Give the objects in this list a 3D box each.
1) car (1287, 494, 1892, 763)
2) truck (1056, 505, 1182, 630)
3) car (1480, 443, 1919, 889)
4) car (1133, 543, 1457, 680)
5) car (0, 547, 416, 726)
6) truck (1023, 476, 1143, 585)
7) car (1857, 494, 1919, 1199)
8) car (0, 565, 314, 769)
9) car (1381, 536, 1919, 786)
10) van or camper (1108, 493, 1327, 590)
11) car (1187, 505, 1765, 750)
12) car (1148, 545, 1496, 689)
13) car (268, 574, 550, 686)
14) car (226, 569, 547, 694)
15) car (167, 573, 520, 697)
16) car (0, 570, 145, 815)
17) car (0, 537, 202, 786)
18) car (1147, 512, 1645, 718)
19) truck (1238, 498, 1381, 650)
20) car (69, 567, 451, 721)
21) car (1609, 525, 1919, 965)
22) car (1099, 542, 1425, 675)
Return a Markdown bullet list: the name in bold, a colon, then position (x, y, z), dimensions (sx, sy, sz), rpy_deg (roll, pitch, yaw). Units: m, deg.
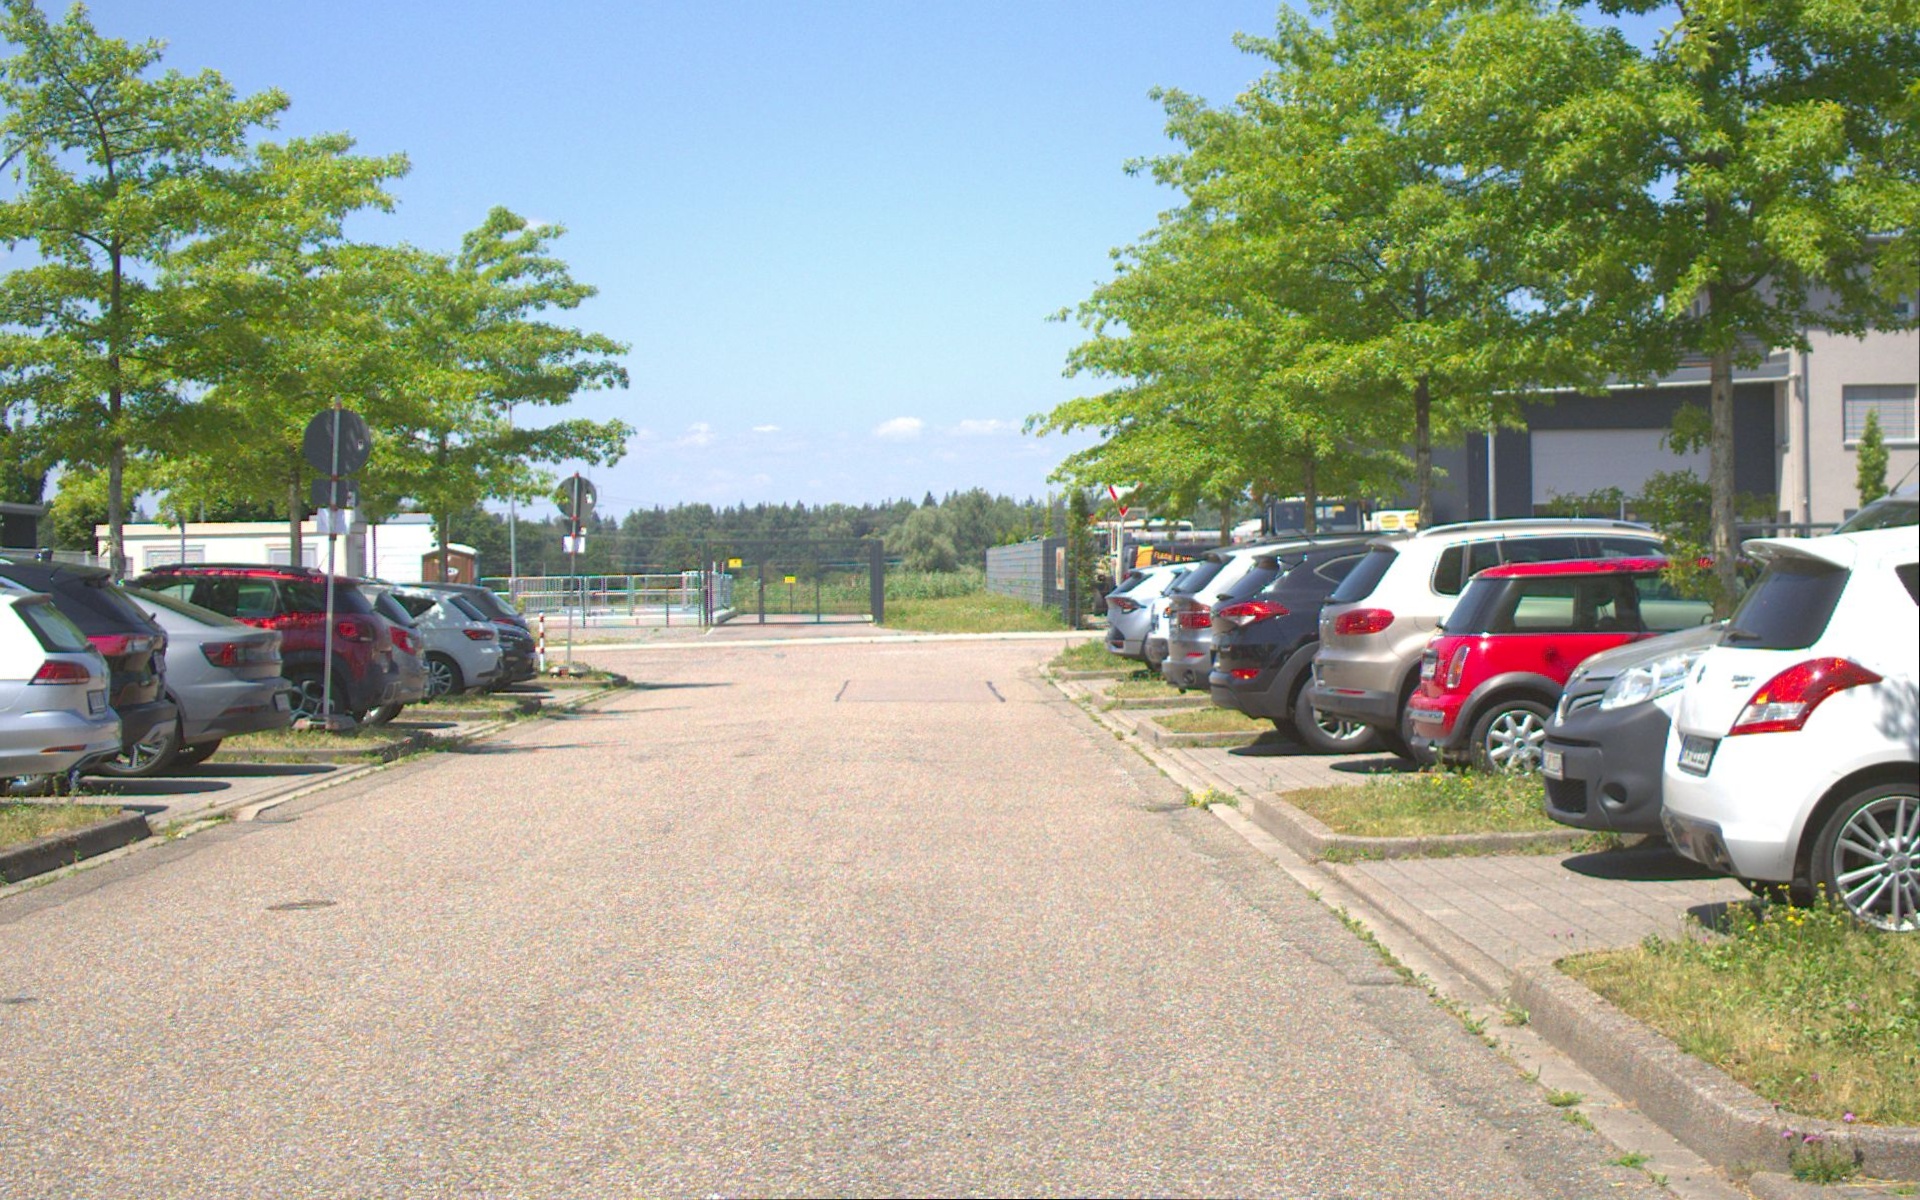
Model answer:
- **car**: position (4.368, 0.186, 24.260), dimensions (3.875, 1.672, 1.782), rpy_deg (-2, 1, 0)
- **truck**: position (4.062, -0.858, 89.213), dimensions (2.726, 3.051, 6.936), rpy_deg (-1, 1, -1)
- **car**: position (4.711, 0.215, 15.470), dimensions (4.403, 1.823, 1.796), rpy_deg (-2, 0, 1)
- **car**: position (4.356, 0.144, 45.083), dimensions (3.987, 1.638, 1.838), rpy_deg (-2, 0, -1)
- **car**: position (-7.232, 0.331, 32.886), dimensions (3.737, 1.616, 1.816), rpy_deg (1, 0, 0)
- **truck**: position (3.416, -1.933, 97.229), dimensions (2.921, 2.928, 6.936), rpy_deg (-1, 1, -1)
- **car**: position (4.326, 0.470, 6.406), dimensions (4.715, 1.555, 1.914), rpy_deg (-2, 1, -4)
- **car**: position (-7.273, 0.470, 26.613), dimensions (4.193, 1.475, 1.713), rpy_deg (1, 0, 0)
- **car**: position (4.571, 0.359, 22.039), dimensions (3.457, 1.412, 1.755), rpy_deg (-2, 1, -1)
- **van or camper**: position (6.026, -1.398, 80.903), dimensions (4.936, 2.156, 2.000), rpy_deg (-1, 2, -1)
- **car**: position (3.978, 0.200, 26.966), dimensions (4.173, 1.690, 1.782), rpy_deg (-2, 1, -1)
- **car**: position (4.431, 0.209, 42.558), dimensions (4.068, 1.602, 1.901), rpy_deg (-2, 0, 1)
- **car**: position (-7.492, 0.403, 47.000), dimensions (3.625, 1.431, 1.726), rpy_deg (1, 0, -3)
- **car**: position (-7.422, 0.399, 44.795), dimensions (3.927, 1.515, 1.785), rpy_deg (1, 0, -3)
- **car**: position (-7.536, 0.419, 42.323), dimensions (4.075, 1.419, 1.874), rpy_deg (1, 0, -4)
- **car**: position (-7.289, 0.515, 21.458), dimensions (4.036, 1.456, 1.604), rpy_deg (1, 0, -3)
- **car**: position (-7.487, 0.380, 24.198), dimensions (3.986, 1.673, 1.777), rpy_deg (1, 0, -5)
- **car**: position (4.153, 0.130, 33.277), dimensions (4.448, 1.762, 1.993), rpy_deg (-2, 1, -2)
- **truck**: position (9.374, -0.722, 92.855), dimensions (2.921, 3.916, 6.936), rpy_deg (-1, 1, -1)
- **car**: position (-7.175, 0.438, 35.503), dimensions (3.656, 1.503, 1.731), rpy_deg (1, 0, -4)
- **car**: position (4.413, 0.438, 12.780), dimensions (3.631, 1.498, 1.676), rpy_deg (-2, 0, 0)
- **car**: position (4.139, 0.106, 47.559), dimensions (4.279, 1.638, 1.851), rpy_deg (-2, 0, 0)
